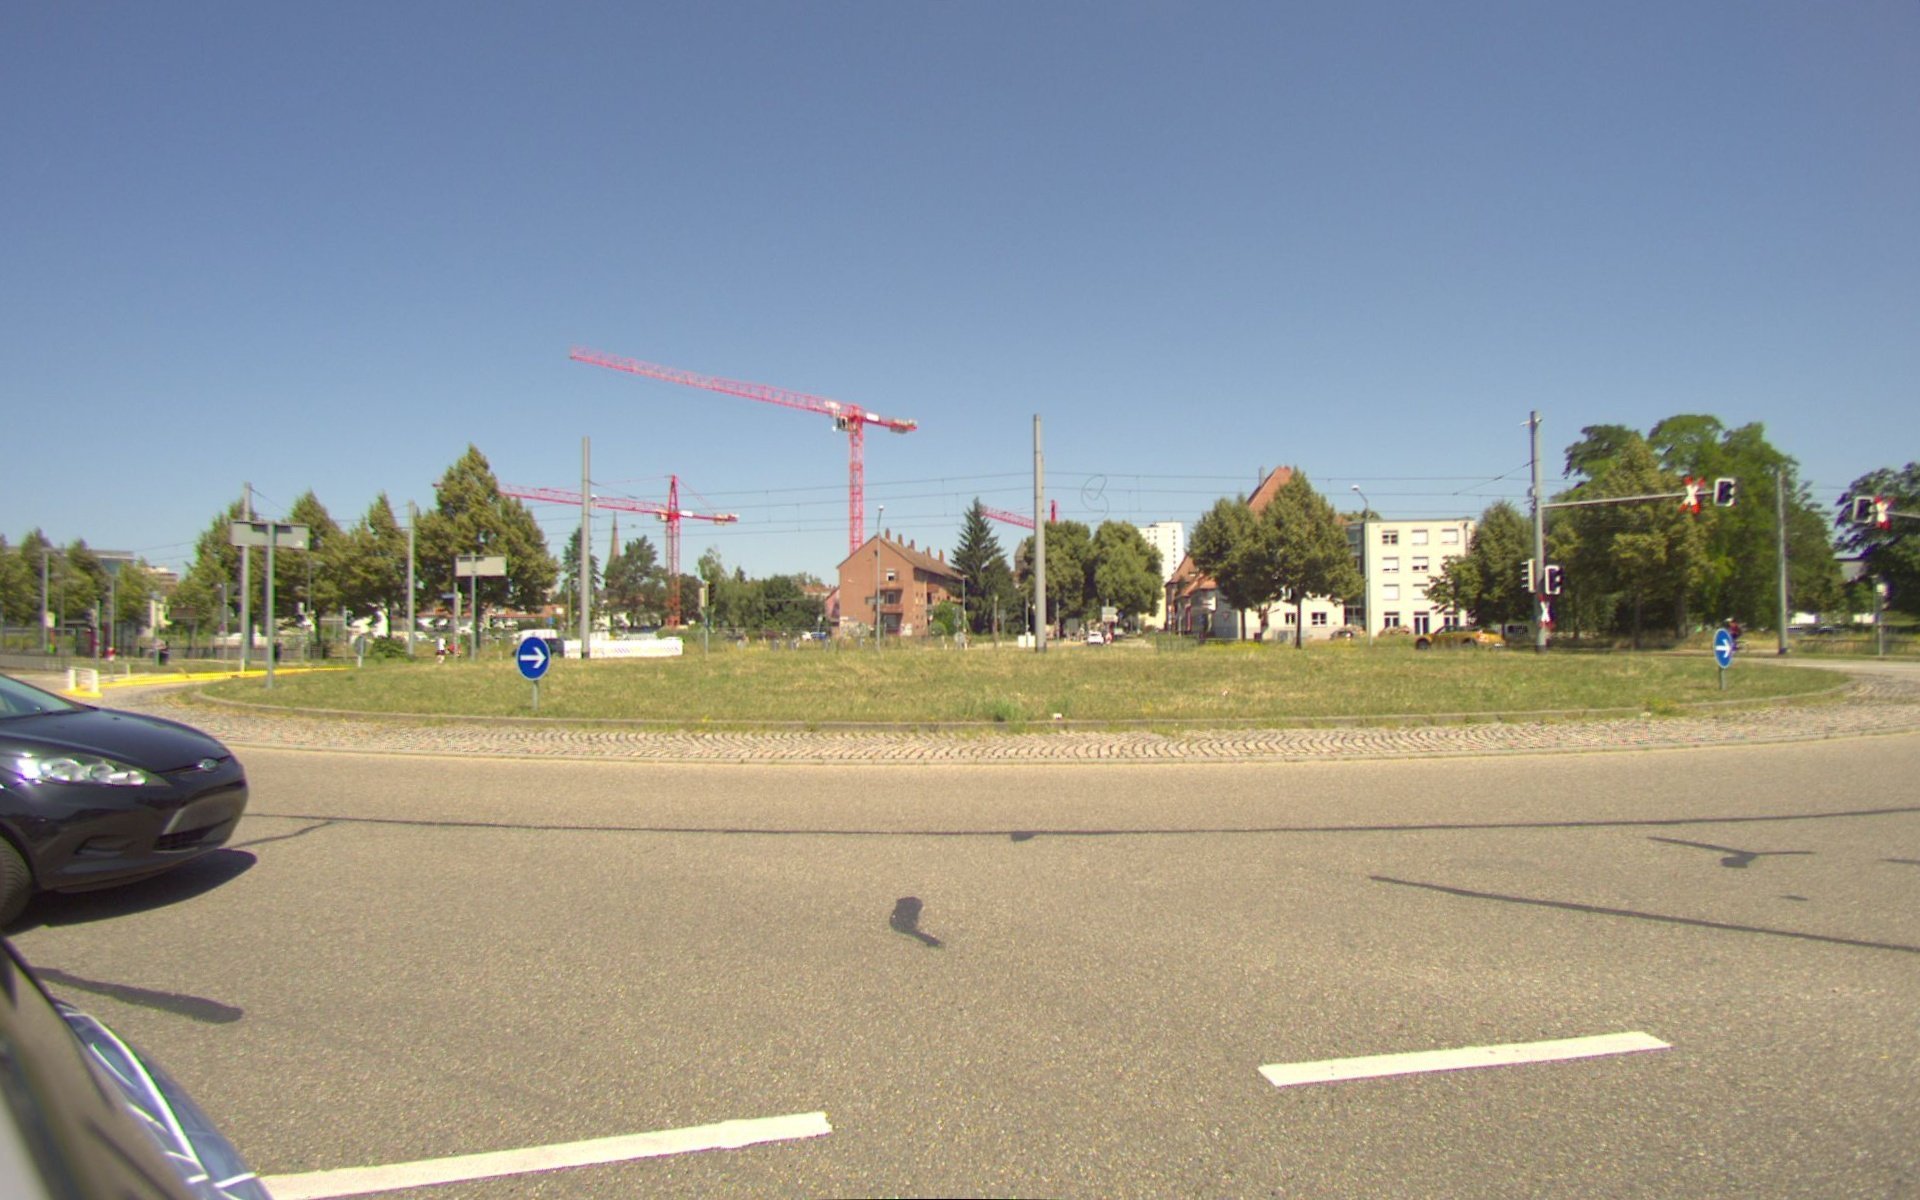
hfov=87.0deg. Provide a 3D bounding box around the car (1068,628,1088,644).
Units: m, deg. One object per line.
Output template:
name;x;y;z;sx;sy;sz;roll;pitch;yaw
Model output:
car;15.237;4.649;130.851;1.981;2.029;3.980;0;-2;15

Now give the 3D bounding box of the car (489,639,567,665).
car;-26.575;3.190;62.368;3.941;1.475;2.001;1;-2;-2

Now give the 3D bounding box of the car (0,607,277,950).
car;-5.833;0.833;4.992;3.755;1.519;1.638;0;-2;-14

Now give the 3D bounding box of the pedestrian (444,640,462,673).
pedestrian;-32.390;3.595;64.624;0.731;2.029;0.736;-1;-2;40

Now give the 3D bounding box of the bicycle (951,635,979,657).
bicycle;0.380;3.570;79.133;2.053;1.697;0.561;1;-2;-8

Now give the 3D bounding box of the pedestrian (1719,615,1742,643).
pedestrian;40.387;1.538;53.047;0.698;1.461;0.820;2;-2;-38

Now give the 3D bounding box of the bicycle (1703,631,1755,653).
bicycle;40.337;2.210;53.099;0.718;1.123;2.063;2;-2;-38

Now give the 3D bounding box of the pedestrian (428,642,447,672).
pedestrian;-32.984;3.592;63.886;0.731;1.913;0.804;-1;-2;40

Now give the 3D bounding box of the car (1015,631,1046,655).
car;6.281;3.776;90.066;1.981;2.029;3.980;0;-2;15

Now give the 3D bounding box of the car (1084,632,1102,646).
car;13.753;4.027;104.449;1.698;1.431;3.887;1;-2;10

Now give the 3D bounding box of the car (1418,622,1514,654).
car;23.699;1.763;47.502;1.800;1.413;3.673;1;-1;-27

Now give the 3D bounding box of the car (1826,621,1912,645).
car;63.814;2.294;71.123;1.965;1.586;4.013;2;-2;-26

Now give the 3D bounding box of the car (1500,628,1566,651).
car;43.142;2.961;76.275;3.964;1.697;1.989;0;-2;16

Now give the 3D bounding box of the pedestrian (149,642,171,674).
pedestrian;-41.966;3.028;53.085;0.781;1.652;0.750;-1;-2;41

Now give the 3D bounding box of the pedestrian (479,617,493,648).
pedestrian;-31.366;2.162;66.973;0.600;2.029;0.589;0;-2;28

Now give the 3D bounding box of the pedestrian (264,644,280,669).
pedestrian;-39.952;3.299;58.775;0.543;1.417;0.590;-2;-2;38
